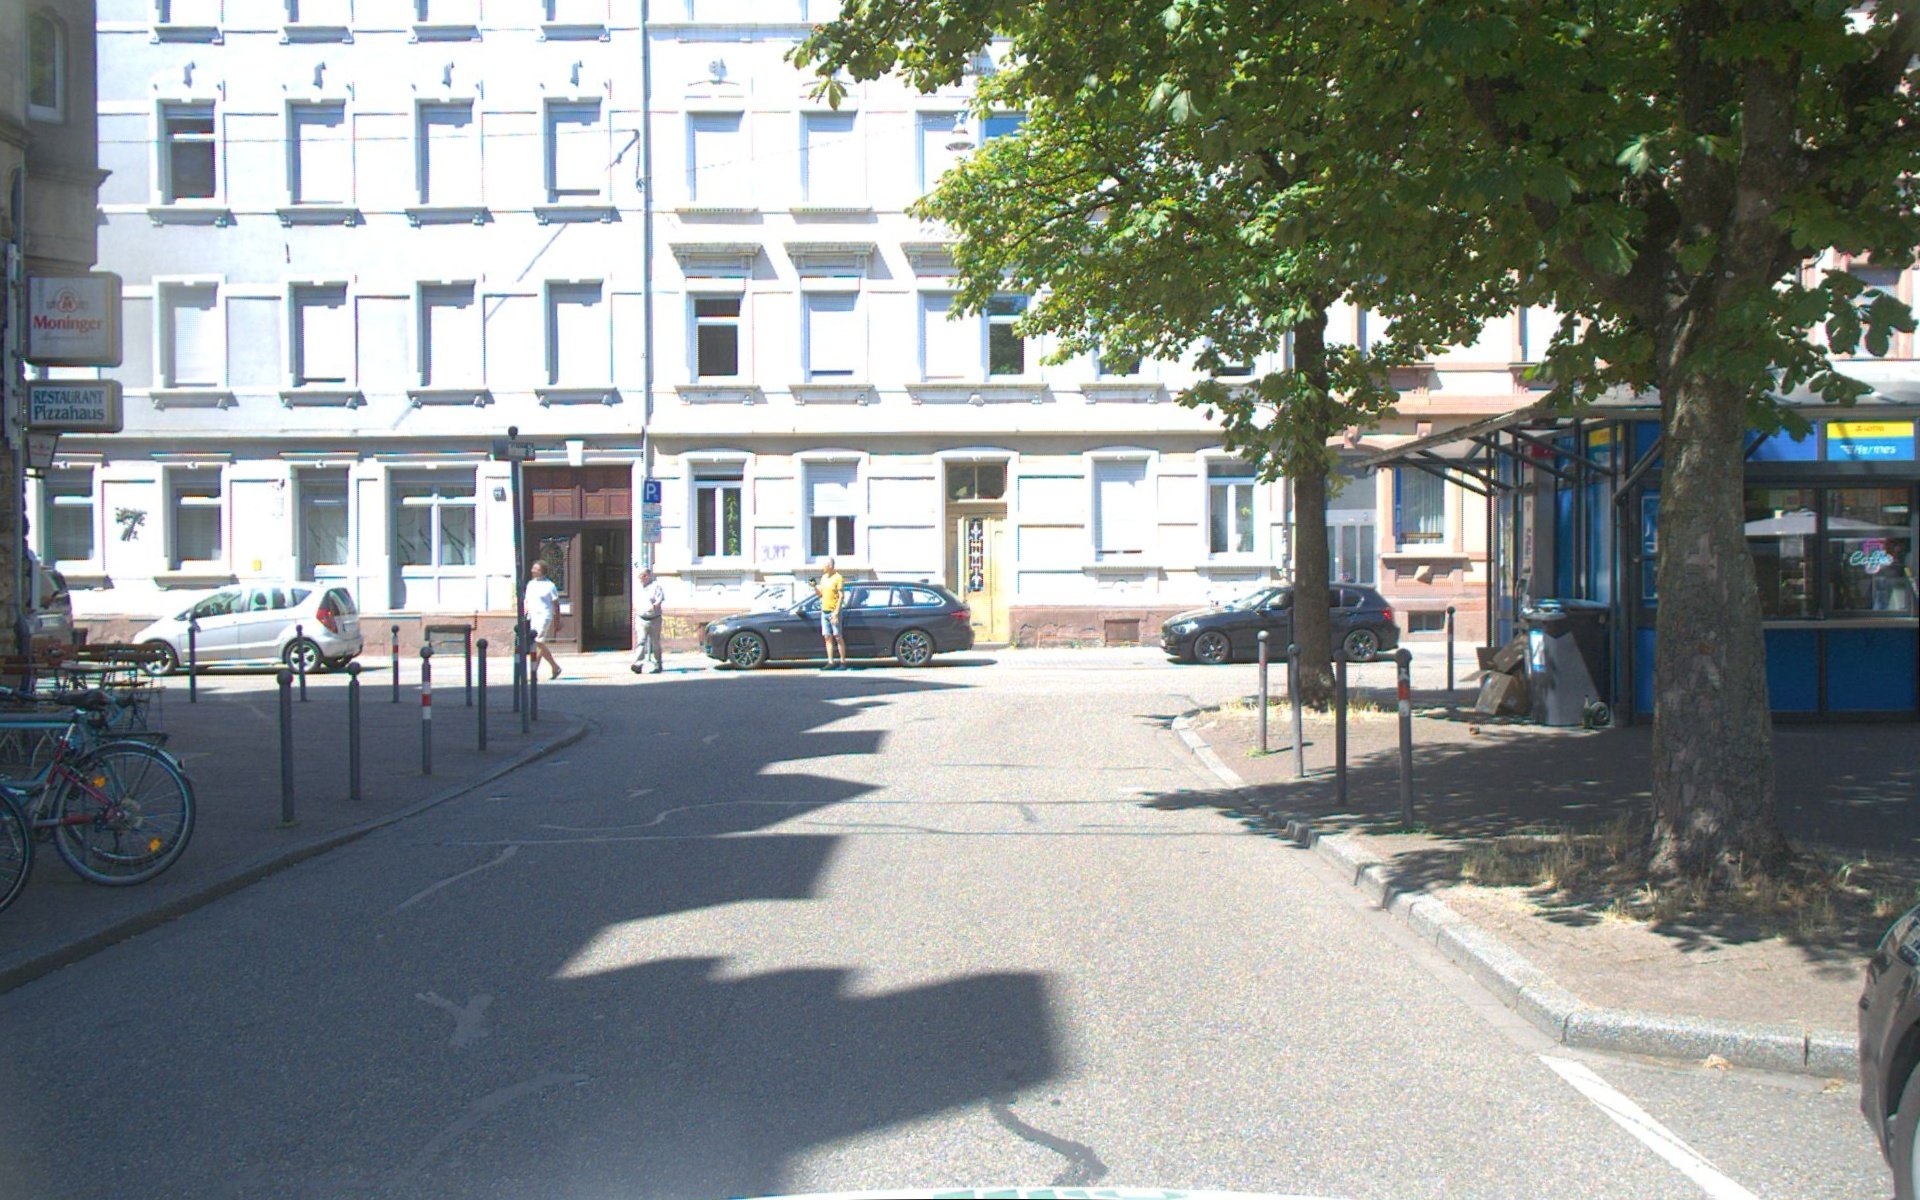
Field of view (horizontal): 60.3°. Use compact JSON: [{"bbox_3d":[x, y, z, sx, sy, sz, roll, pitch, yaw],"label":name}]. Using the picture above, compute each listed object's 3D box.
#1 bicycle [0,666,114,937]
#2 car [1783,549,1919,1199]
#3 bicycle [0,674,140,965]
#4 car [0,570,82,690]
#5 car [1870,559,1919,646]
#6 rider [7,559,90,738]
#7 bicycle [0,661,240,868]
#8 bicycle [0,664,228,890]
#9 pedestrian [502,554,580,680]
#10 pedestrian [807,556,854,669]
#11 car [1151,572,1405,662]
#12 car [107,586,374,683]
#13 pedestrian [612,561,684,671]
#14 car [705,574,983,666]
[{"bbox_3d":[-4.848,0.869,7.291,1.956,1.149,0.436,1,0,-4],"label":"bicycle"},{"bbox_3d":[2.938,0.702,2.117,1.629,1.567,4.177,1,0,-1],"label":"car"},{"bbox_3d":[-4.515,0.875,6.875,1.933,1.149,0.395,2,0,-4],"label":"bicycle"},{"bbox_3d":[-18.451,0.555,29.380,4.610,2.032,1.877,-1,2,-1],"label":"car"},{"bbox_3d":[18.845,-0.015,29.817,3.906,1.532,1.778,-1,0,-1],"label":"car"},{"bbox_3d":[-9.044,0.469,16.416,0.631,1.726,0.537,-1,0,45],"label":"rider"},{"bbox_3d":[-4.627,0.854,8.673,1.495,1.025,0.367,1,0,-4],"label":"bicycle"},{"bbox_3d":[-4.591,0.866,8.227,1.671,1.063,0.414,1,0,-4],"label":"bicycle"},{"bbox_3d":[-6.547,0.255,25.883,0.831,1.922,0.936,-1,0,10],"label":"pedestrian"},{"bbox_3d":[-2.217,0.208,28.305,0.711,1.886,0.683,-1,0,-10],"label":"pedestrian"},{"bbox_3d":[5.640,0.279,29.689,4.206,1.394,1.807,-1,3,0],"label":"car"},{"bbox_3d":[-12.842,0.601,29.711,3.965,1.589,1.806,-1,0,-2],"label":"car"},{"bbox_3d":[-5.358,0.261,28.473,0.882,1.845,0.961,-1,0,11],"label":"pedestrian"},{"bbox_3d":[-1.999,0.343,29.518,4.760,1.462,2.000,-1,0,0],"label":"car"}]
